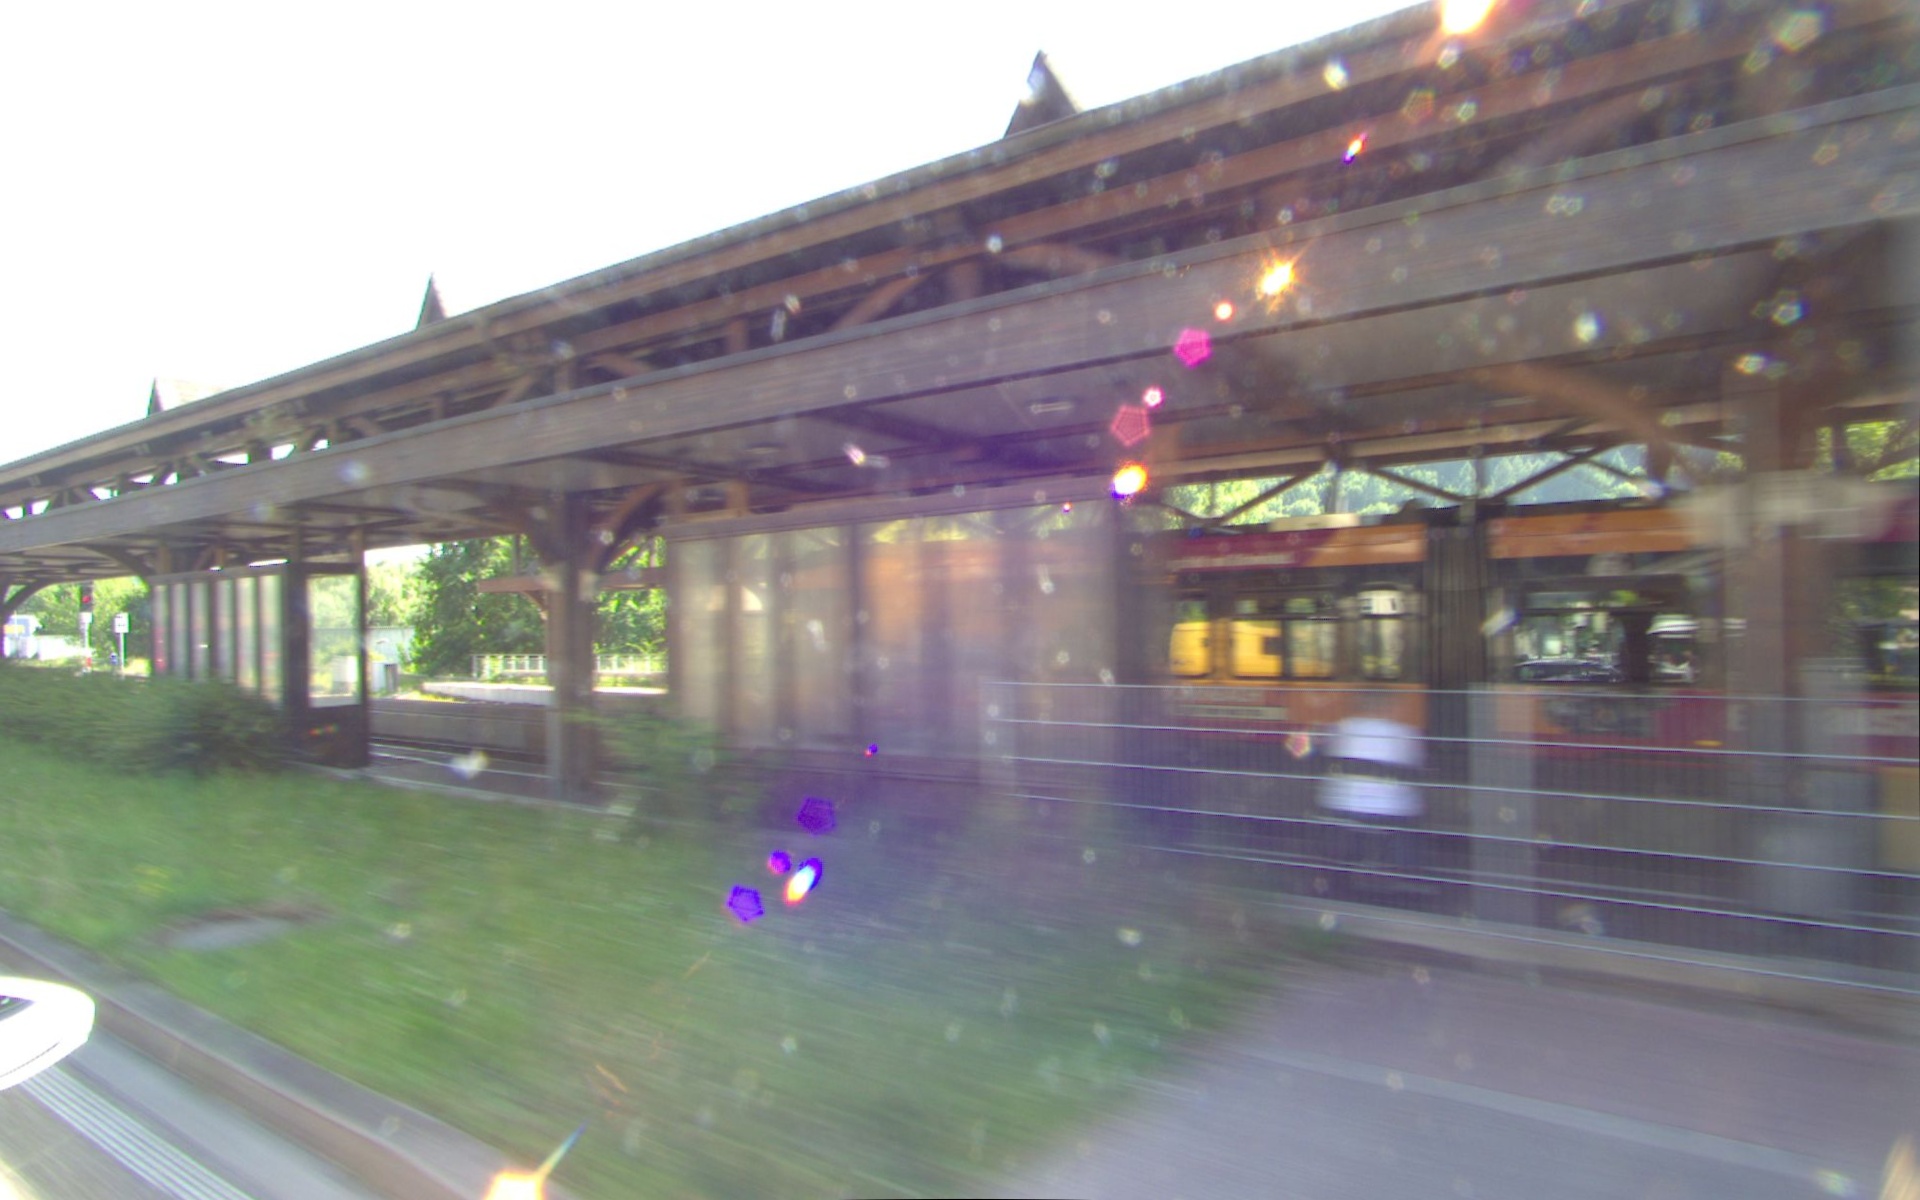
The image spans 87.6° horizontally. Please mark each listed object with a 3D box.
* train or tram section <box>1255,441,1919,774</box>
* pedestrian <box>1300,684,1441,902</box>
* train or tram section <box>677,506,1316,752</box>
[{"bbox_3d":[9.825,0.171,11.869,11.877,3.405,2.783,-1,-4,33],"label":"train or tram section"},{"bbox_3d":[2.422,1.077,5.881,0.657,1.130,0.742,1,-3,29],"label":"pedestrian"},{"bbox_3d":[0.023,0.504,18.289,11.877,3.405,2.752,0,-3,33],"label":"train or tram section"}]
